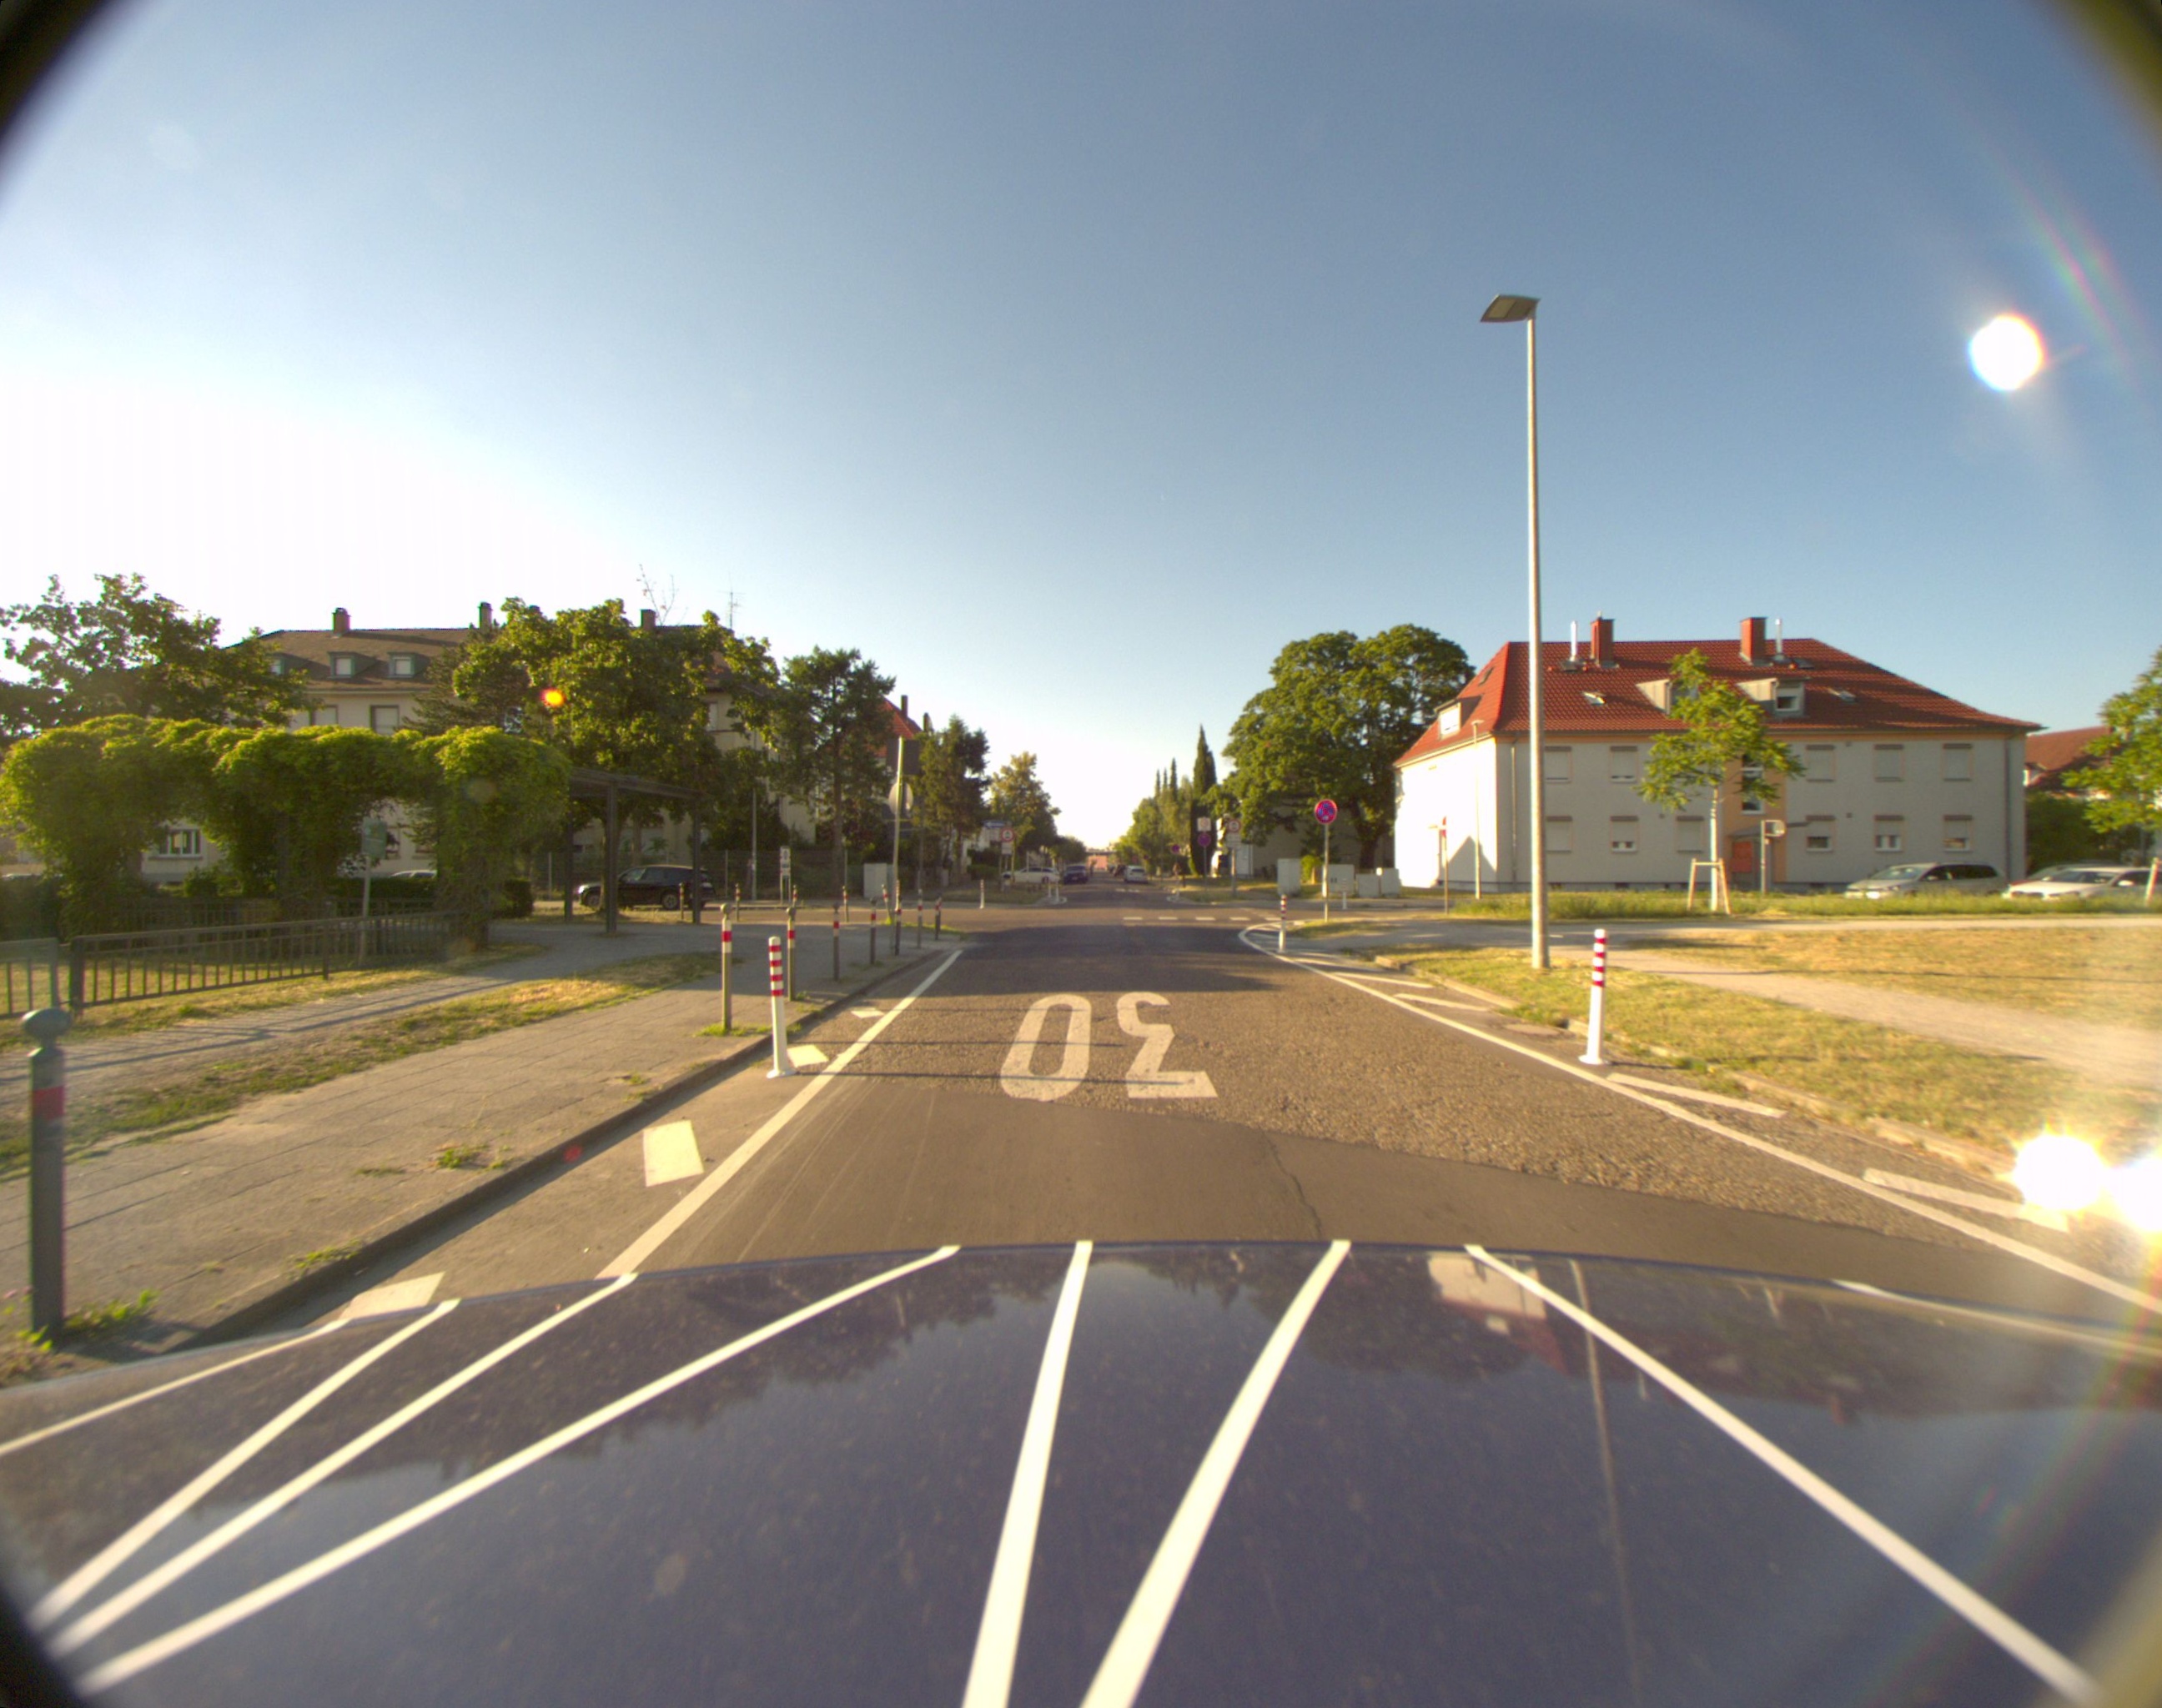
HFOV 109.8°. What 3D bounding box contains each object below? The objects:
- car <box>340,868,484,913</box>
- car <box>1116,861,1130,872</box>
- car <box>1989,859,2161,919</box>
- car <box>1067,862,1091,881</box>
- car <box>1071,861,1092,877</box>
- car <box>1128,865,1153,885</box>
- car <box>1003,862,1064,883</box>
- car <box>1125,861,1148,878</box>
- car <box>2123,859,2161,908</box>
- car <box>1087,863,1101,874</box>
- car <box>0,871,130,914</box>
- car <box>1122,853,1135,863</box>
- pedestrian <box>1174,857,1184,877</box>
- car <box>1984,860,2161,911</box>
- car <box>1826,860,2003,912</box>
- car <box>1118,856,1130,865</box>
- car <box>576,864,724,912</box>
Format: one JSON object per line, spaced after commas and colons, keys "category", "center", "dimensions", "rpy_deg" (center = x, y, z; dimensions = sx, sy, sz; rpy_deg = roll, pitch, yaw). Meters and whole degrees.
{"category": "car", "center": [-24.521, 1.328, 27.947], "dimensions": [3.769, 1.517, 1.771], "rpy_deg": [0, 1, 3]}
{"category": "car", "center": [6.162, 1.826, 112.271], "dimensions": [1.970, 1.604, 4.248], "rpy_deg": [0, 0, 1]}
{"category": "car", "center": [30.038, 1.019, 22.382], "dimensions": [4.297, 1.685, 1.871], "rpy_deg": [0, -2, 0]}
{"category": "car", "center": [-0.210, 1.496, 65.450], "dimensions": [1.971, 1.604, 4.246], "rpy_deg": [0, 0, -2]}
{"category": "car", "center": [0.034, 1.548, 78.364], "dimensions": [1.971, 1.604, 4.246], "rpy_deg": [0, 0, -2]}
{"category": "car", "center": [5.205, 1.825, 66.819], "dimensions": [1.970, 1.604, 4.248], "rpy_deg": [0, 0, 1]}
{"category": "car", "center": [-3.845, 1.501, 61.800], "dimensions": [4.834, 1.604, 1.972], "rpy_deg": [-1, 0, -1]}
{"category": "car", "center": [5.418, 1.472, 74.736], "dimensions": [1.970, 1.604, 4.248], "rpy_deg": [0, 0, 1]}
{"category": "car", "center": [38.591, 0.987, 25.750], "dimensions": [3.997, 1.685, 1.851], "rpy_deg": [0, -2, 0]}
{"category": "car", "center": [1.975, 2.127, 115.768], "dimensions": [1.971, 1.604, 4.246], "rpy_deg": [0, 0, -2]}
{"category": "car", "center": [-38.818, 1.438, 28.636], "dimensions": [3.770, 1.517, 1.771], "rpy_deg": [0, 1, 1]}
{"category": "car", "center": [7.936, 0.681, 127.517], "dimensions": [1.970, 1.604, 4.247], "rpy_deg": [0, 0, 0]}
{"category": "pedestrian", "center": [10.139, 1.323, 78.420], "dimensions": [0.898, 2.002, 0.693], "rpy_deg": [0, 0, 0]}
{"category": "car", "center": [34.103, 1.073, 26.064], "dimensions": [3.997, 1.685, 1.851], "rpy_deg": [0, -2, 0]}
{"category": "car", "center": [28.494, 1.096, 26.064], "dimensions": [3.997, 1.685, 1.851], "rpy_deg": [0, -2, 0]}
{"category": "car", "center": [8.146, 1.282, 143.450], "dimensions": [1.970, 1.604, 4.248], "rpy_deg": [0, 0, 1]}
{"category": "car", "center": [-15.326, 1.219, 27.152], "dimensions": [4.213, 1.631, 1.824], "rpy_deg": [0, -3, 0]}
